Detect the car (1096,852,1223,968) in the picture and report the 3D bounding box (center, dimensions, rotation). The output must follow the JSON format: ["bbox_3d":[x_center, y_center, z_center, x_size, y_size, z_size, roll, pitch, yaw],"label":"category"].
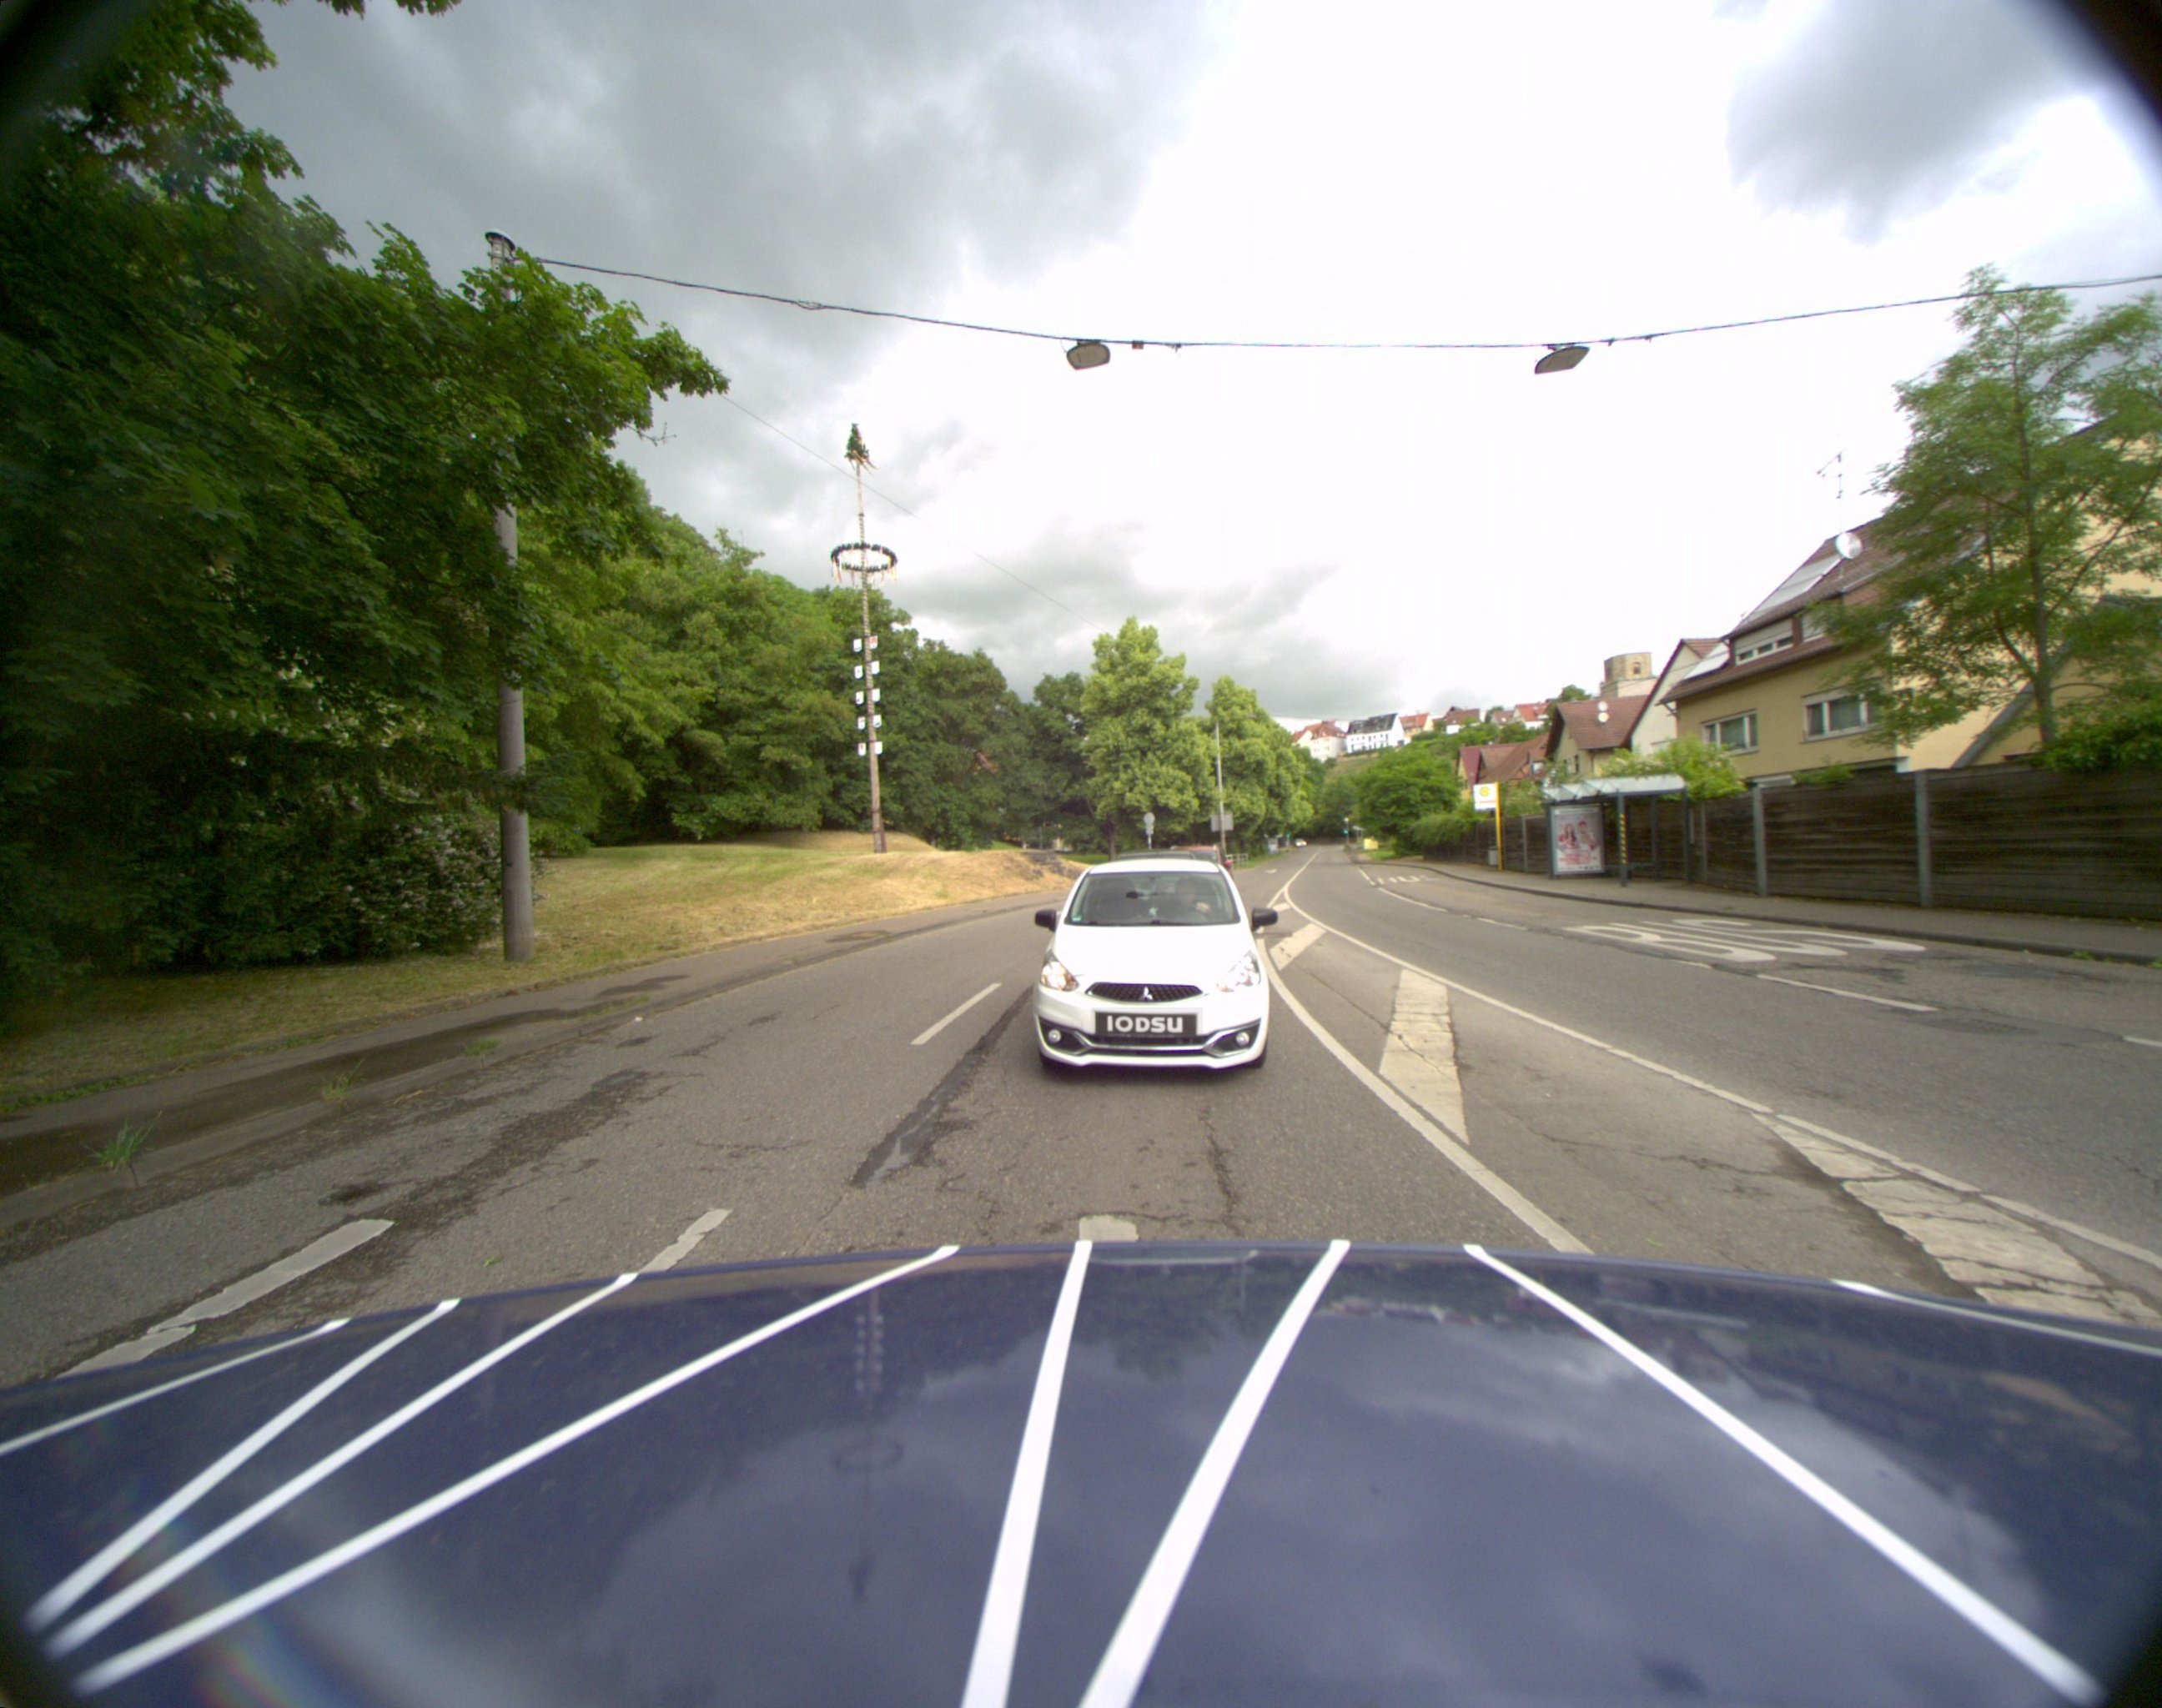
[{"bbox_3d":[1.390,0.791,12.586,1.723,1.539,3.784,-2,1,9],"label":"car"}]

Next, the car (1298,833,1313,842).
[{"bbox_3d":[45.624,-3.392,154.649,1.846,1.630,4.000,-2,1,1],"label":"car"}]

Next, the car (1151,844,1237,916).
[{"bbox_3d":[3.128,0.609,20.375,1.826,1.662,4.061,-2,1,14],"label":"car"}]

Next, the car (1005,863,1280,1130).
[{"bbox_3d":[0.636,0.906,6.428,1.617,1.505,3.607,-2,1,9],"label":"car"}]
